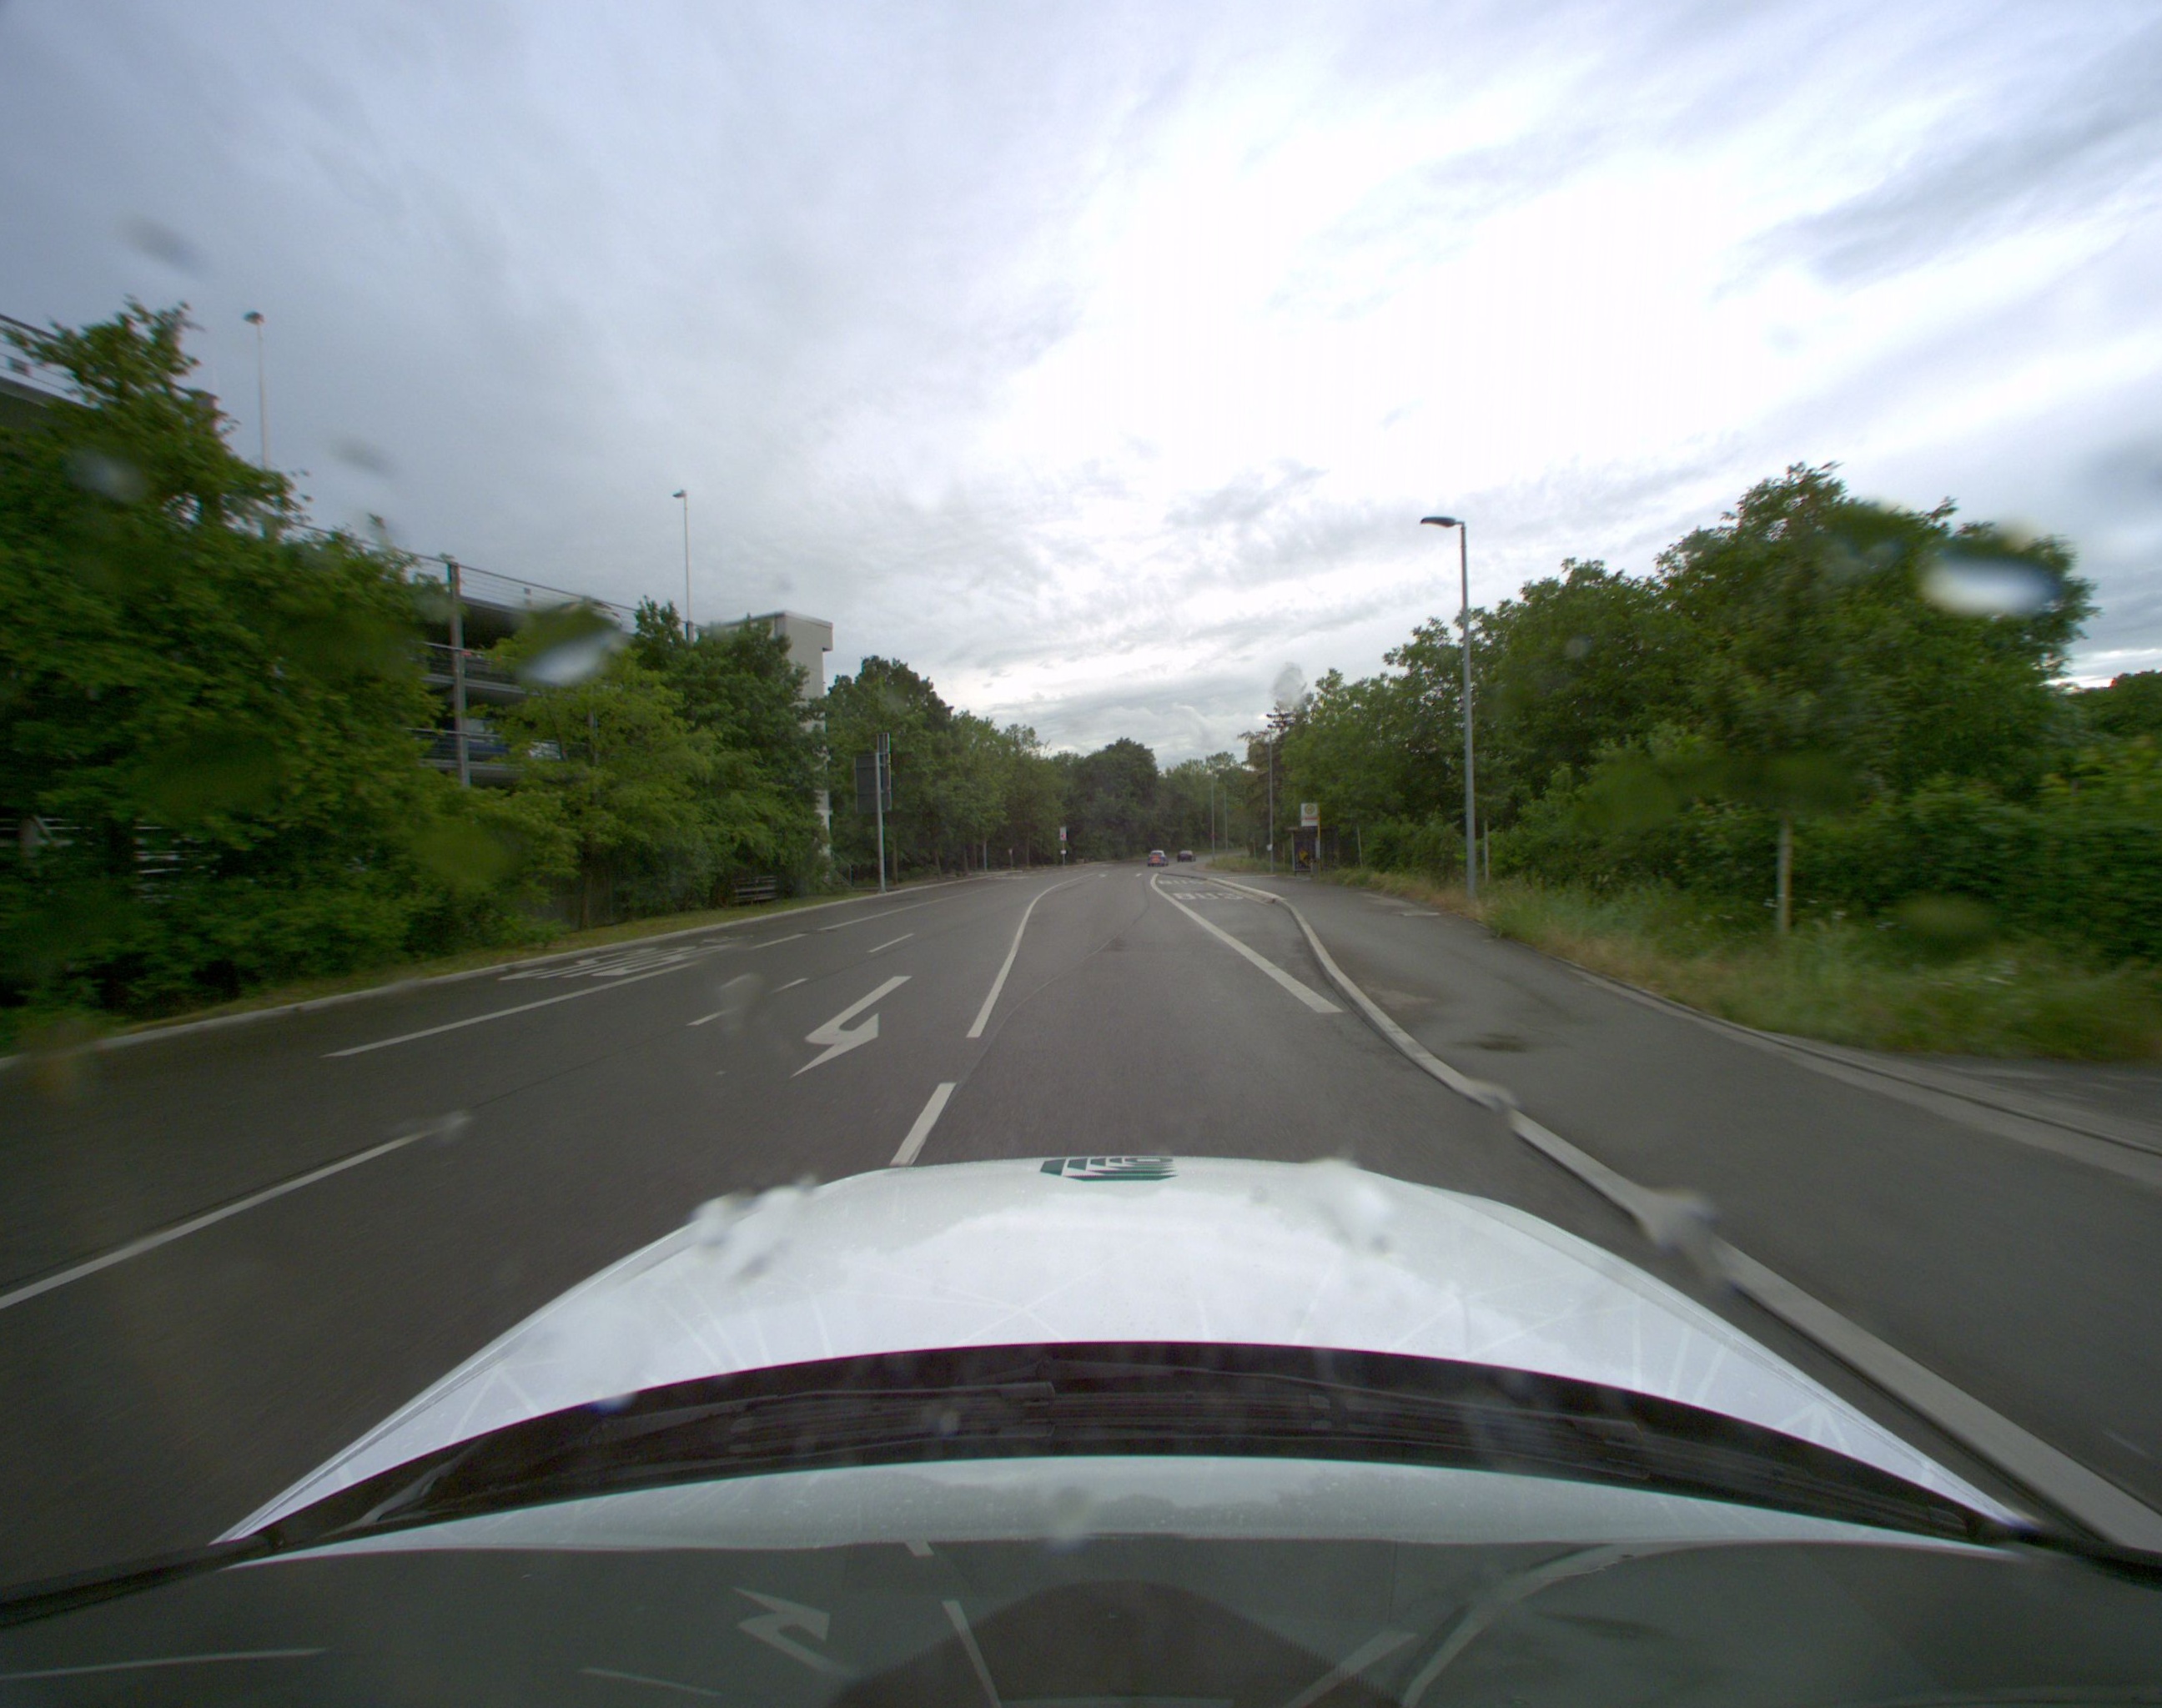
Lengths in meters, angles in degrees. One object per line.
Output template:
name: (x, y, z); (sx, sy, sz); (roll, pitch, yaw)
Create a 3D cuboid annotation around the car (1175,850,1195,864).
car: (13.252, 0.353, 103.418); (1.913, 1.486, 3.815); (-3, 1, 14)

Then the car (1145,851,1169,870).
car: (7.821, 0.653, 83.272); (1.981, 1.689, 4.013); (-3, 1, 11)

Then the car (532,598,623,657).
car: (-20.822, -9.322, 33.681); (3.204, 1.519, 1.595); (-4, -1, 23)

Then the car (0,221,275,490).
car: (-14.006, -7.040, 11.991); (3.948, 1.519, 2.013); (-4, -1, 30)

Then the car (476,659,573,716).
car: (-21.650, -6.431, 31.704); (3.204, 1.519, 1.595); (-4, -1, 23)

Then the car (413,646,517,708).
car: (-22.572, -6.423, 29.837); (3.204, 1.519, 1.595); (-4, -1, 23)

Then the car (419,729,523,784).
car: (-22.311, -3.533, 29.773); (3.204, 1.519, 1.595); (-4, -1, 23)

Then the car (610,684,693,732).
car: (-19.411, -6.554, 36.804); (3.204, 1.519, 1.595); (-4, -1, 23)

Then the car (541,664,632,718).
car: (-20.523, -6.718, 33.783); (3.204, 1.519, 1.595); (-4, -1, 23)

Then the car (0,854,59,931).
car: (-22.984, 0.832, 16.729); (3.432, 1.519, 1.595); (-3, 0, 23)

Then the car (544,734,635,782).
car: (-20.368, -3.940, 33.759); (3.204, 1.519, 1.595); (-4, -1, 23)

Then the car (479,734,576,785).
car: (-21.515, -3.641, 31.669); (3.204, 1.519, 1.595); (-4, -1, 23)
